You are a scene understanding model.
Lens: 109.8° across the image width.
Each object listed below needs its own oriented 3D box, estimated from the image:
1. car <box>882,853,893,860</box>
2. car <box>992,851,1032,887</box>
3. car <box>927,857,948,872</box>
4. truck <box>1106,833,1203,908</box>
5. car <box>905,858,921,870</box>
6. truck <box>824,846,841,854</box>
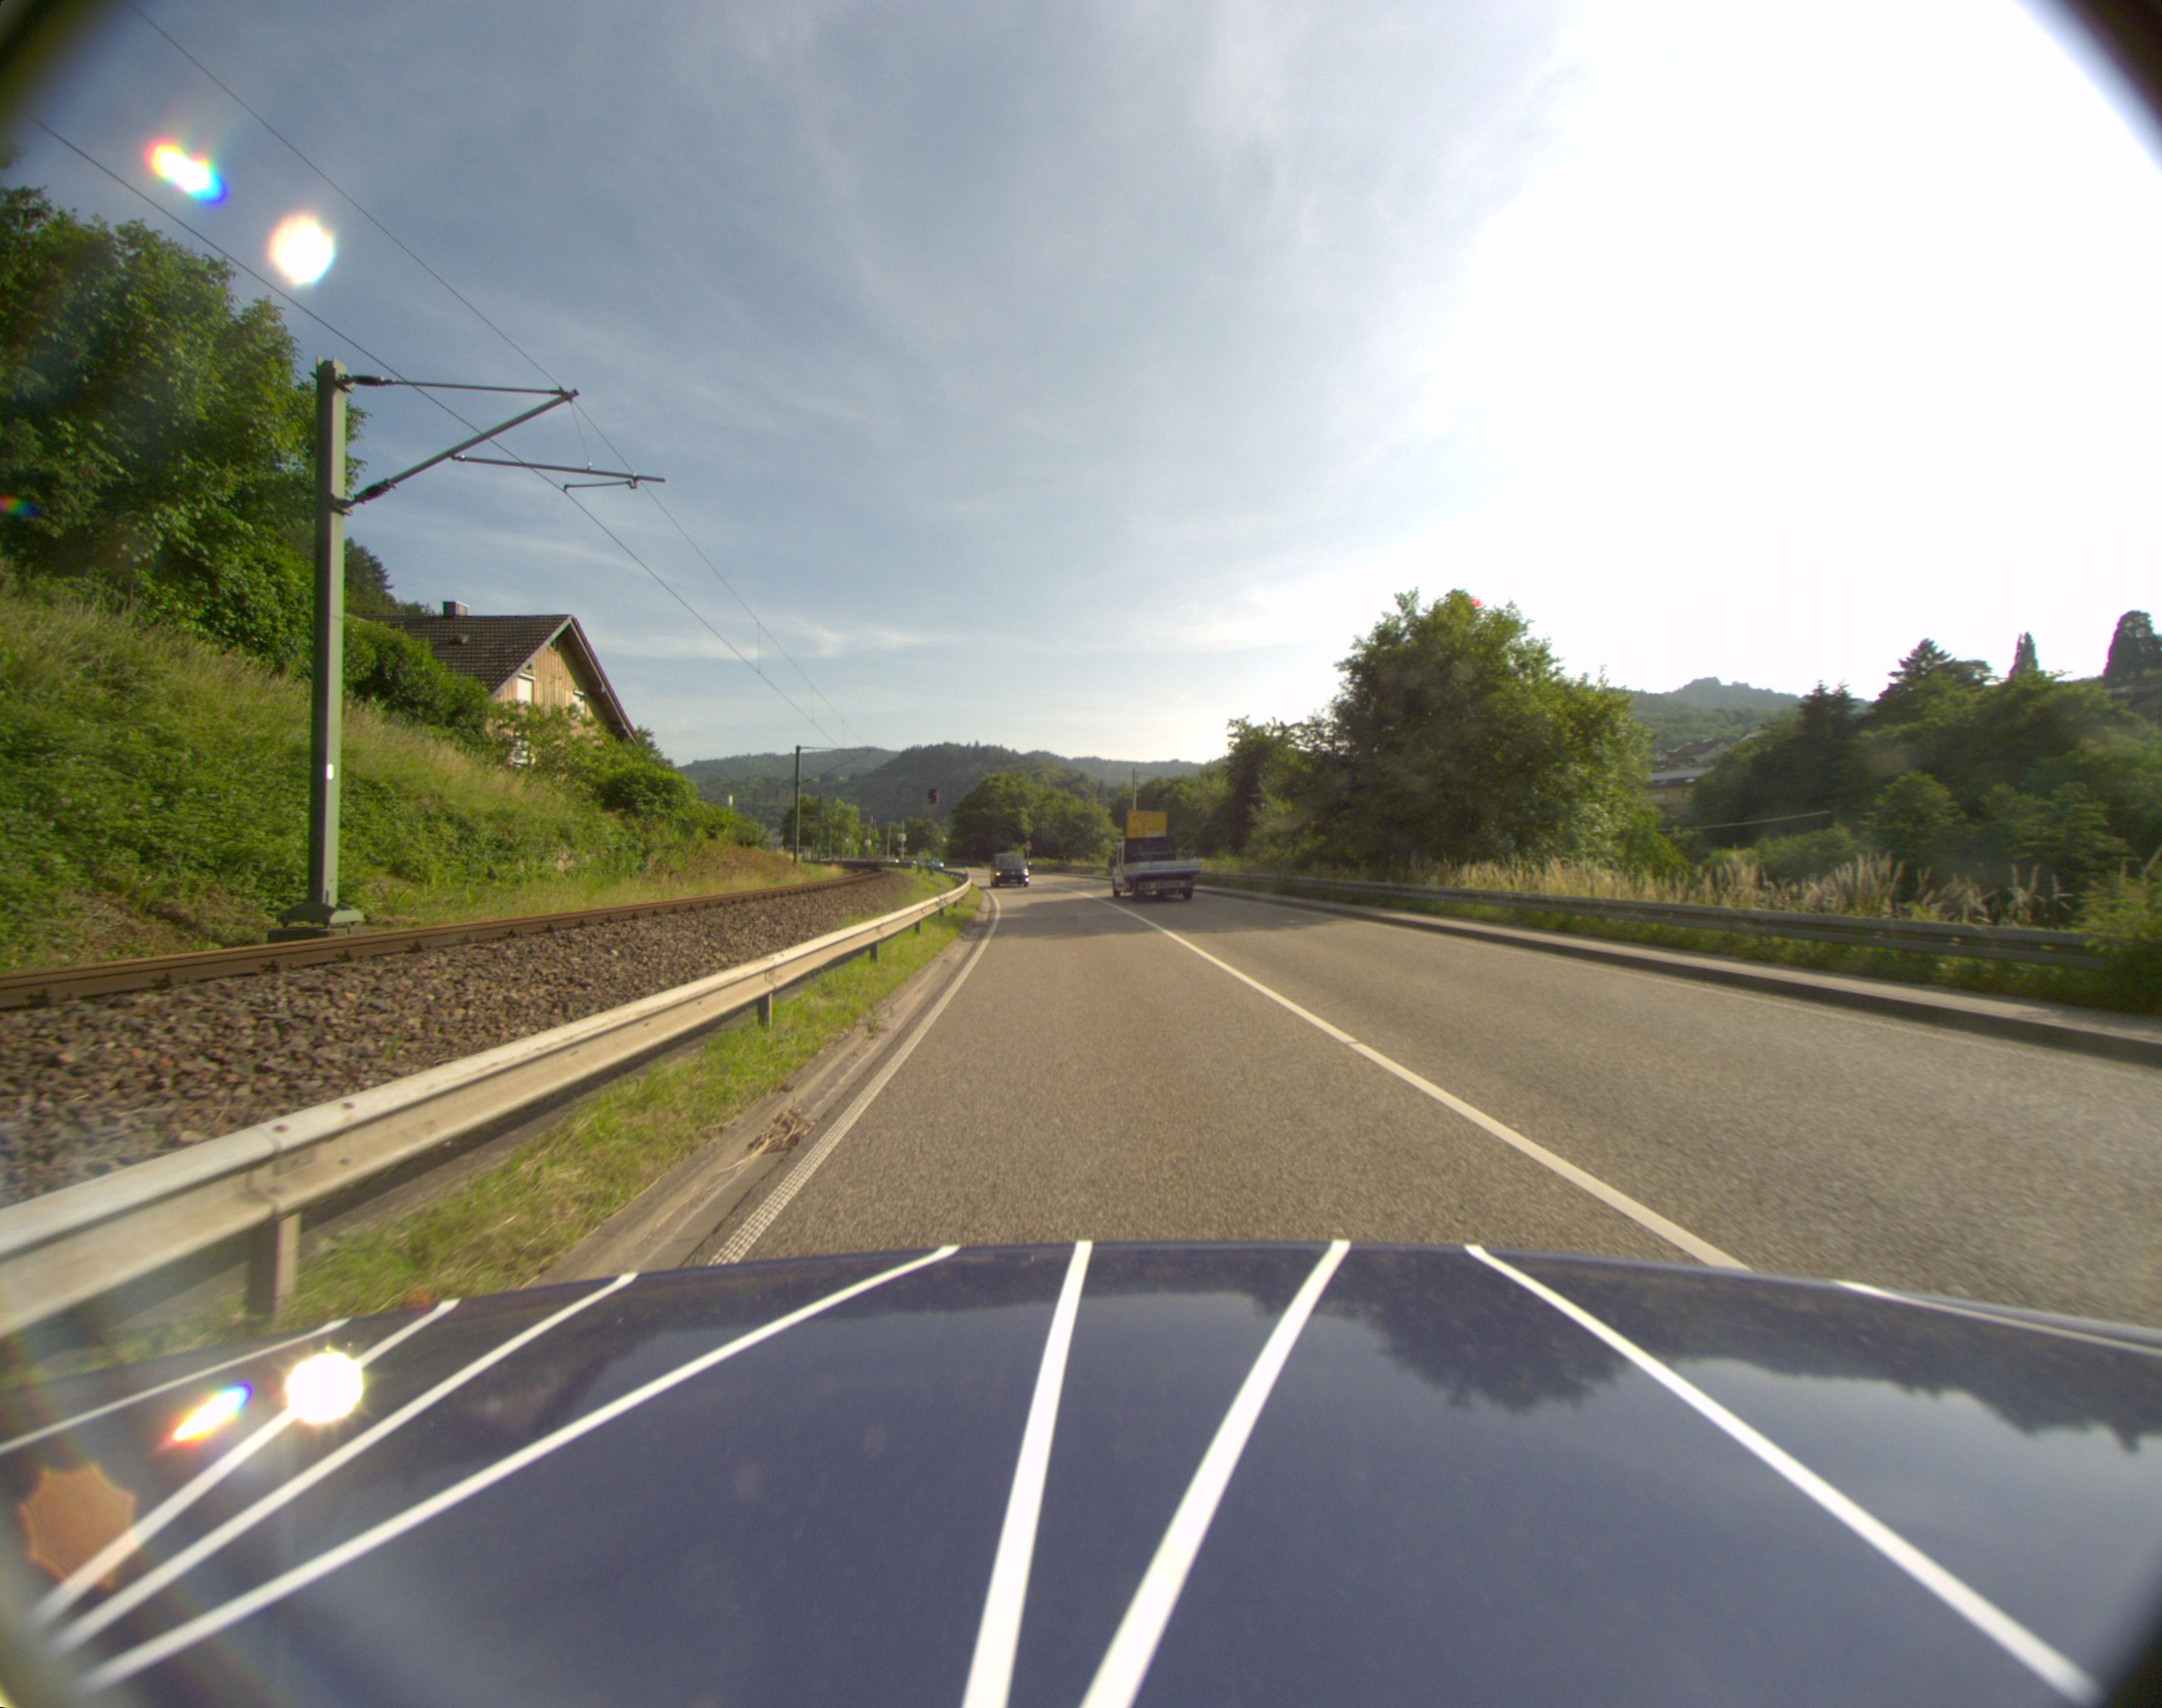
[{"bbox_3d":[-44.566,0.570,175.069,1.640,1.341,4.100,-2,1,-24],"label":"car"},{"bbox_3d":[-4.033,0.825,44.091,2.019,1.905,4.308,-2,1,-8],"label":"car"},{"bbox_3d":[-18.016,1.306,95.328,1.888,1.735,4.172,-1,0,-20],"label":"car"},{"bbox_3d":[2.514,0.548,28.123,2.163,2.352,6.742,-3,0,-6],"label":"truck"},{"bbox_3d":[-27.055,1.599,122.092,1.888,1.735,4.171,-1,0,-22],"label":"car"},{"bbox_3d":[-70.026,-1.058,213.940,4.706,2.272,1.890,-1,0,33],"label":"truck"}]
